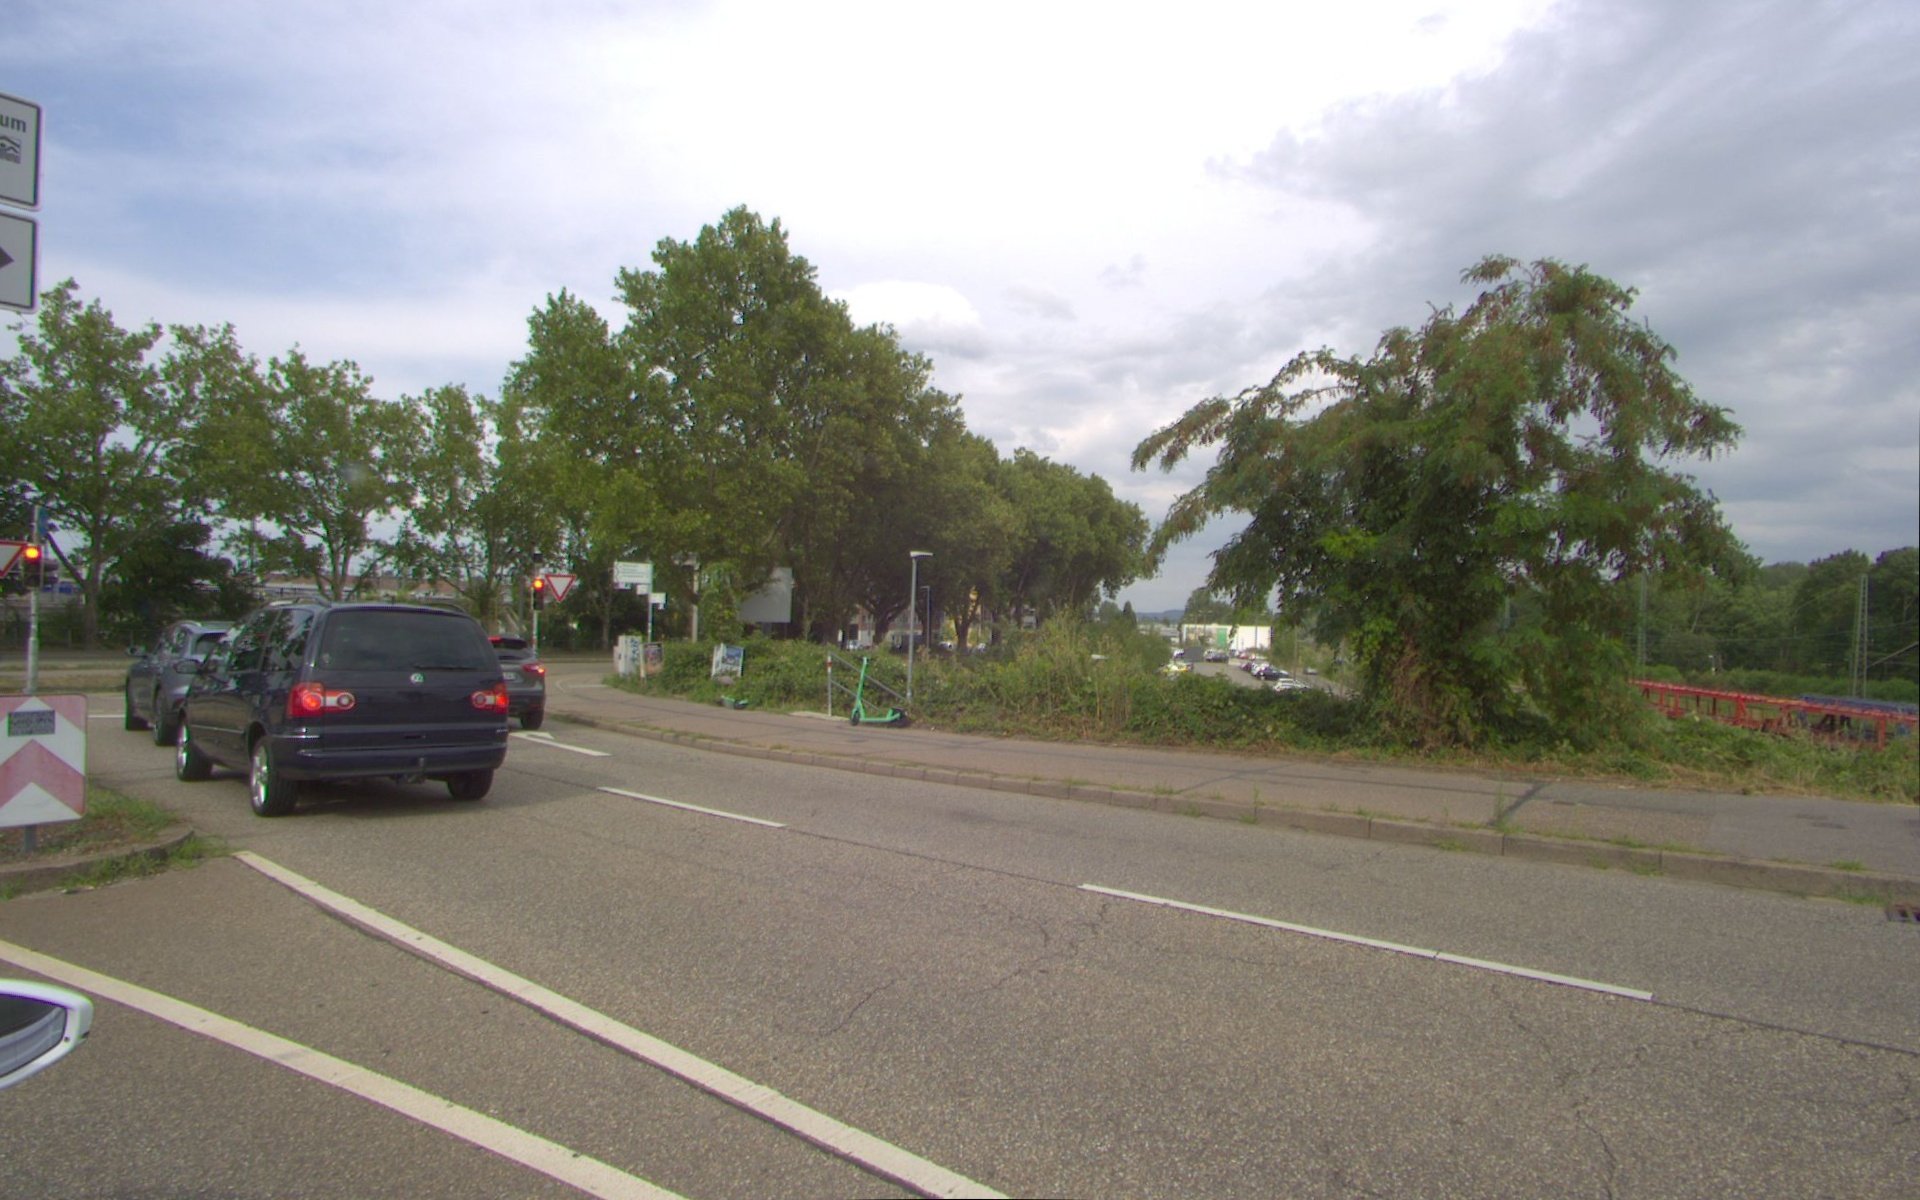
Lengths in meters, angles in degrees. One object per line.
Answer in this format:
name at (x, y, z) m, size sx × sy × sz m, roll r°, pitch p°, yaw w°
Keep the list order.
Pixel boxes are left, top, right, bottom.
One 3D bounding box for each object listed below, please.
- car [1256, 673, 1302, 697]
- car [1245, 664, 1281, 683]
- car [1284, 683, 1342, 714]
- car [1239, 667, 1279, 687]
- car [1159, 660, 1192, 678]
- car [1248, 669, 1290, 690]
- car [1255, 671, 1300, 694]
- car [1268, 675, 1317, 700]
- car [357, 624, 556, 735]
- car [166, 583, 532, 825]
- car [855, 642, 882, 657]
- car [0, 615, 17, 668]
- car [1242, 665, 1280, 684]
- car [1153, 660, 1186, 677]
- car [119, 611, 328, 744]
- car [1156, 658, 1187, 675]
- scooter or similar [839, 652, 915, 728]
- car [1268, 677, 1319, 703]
car at (30.184, 8.009, 94.817) m, size 3.923 × 2.040 × 1.762 m, roll 1°, pitch -1°, yaw 10°
car at (36.132, 8.735, 119.576) m, size 3.923 × 2.040 × 1.762 m, roll 1°, pitch -1°, yaw 10°
car at (26.902, 7.496, 76.368) m, size 3.923 × 2.040 × 1.762 m, roll 1°, pitch -1°, yaw 10°
car at (32.911, 8.439, 110.276) m, size 3.923 × 2.040 × 1.762 m, roll 1°, pitch -1°, yaw 10°
car at (26.856, 8.633, 124.773) m, size 3.926 × 2.040 × 1.761 m, roll 1°, pitch -1°, yaw 16°
car at (32.121, 8.278, 104.246) m, size 3.923 × 2.040 × 1.762 m, roll 1°, pitch -1°, yaw 10°
car at (31.235, 8.123, 98.588) m, size 3.923 × 2.040 × 1.762 m, roll 1°, pitch -1°, yaw 10°
car at (30.033, 7.904, 90.496) m, size 3.923 × 2.040 × 1.762 m, roll 1°, pitch -1°, yaw 10°
car at (-8.709, 1.302, 17.170) m, size 4.094 × 1.663 × 1.742 m, roll -2°, pitch -4°, yaw 44°
car at (-5.783, 0.850, 9.273) m, size 4.092 × 1.746 × 1.743 m, roll -2°, pitch -4°, yaw 42°
car at (-10.812, 5.827, 118.257) m, size 1.778 × 1.745 × 3.996 m, roll 0°, pitch -1°, yaw 16°
car at (-26.267, 1.029, 24.748) m, size 1.670 × 1.385 × 4.069 m, roll 0°, pitch -2°, yaw 11°
car at (34.708, 8.608, 115.631) m, size 3.923 × 2.040 × 1.762 m, roll 1°, pitch -1°, yaw 10°
car at (26.726, 8.698, 127.672) m, size 3.926 × 2.040 × 1.761 m, roll 1°, pitch -1°, yaw 16°
car at (-10.531, 1.038, 14.201) m, size 4.113 × 1.604 × 1.682 m, roll -2°, pitch -4°, yaw 44°
car at (28.030, 8.843, 132.501) m, size 3.926 × 2.040 × 1.761 m, roll 1°, pitch -1°, yaw 16°
scooter or similar at (-1.362, 1.456, 16.443) m, size 1.262 × 1.198 × 0.396 m, roll -1°, pitch -1°, yaw 32°
car at (28.980, 7.801, 87.183) m, size 3.923 × 2.040 × 1.762 m, roll 1°, pitch -1°, yaw 10°
